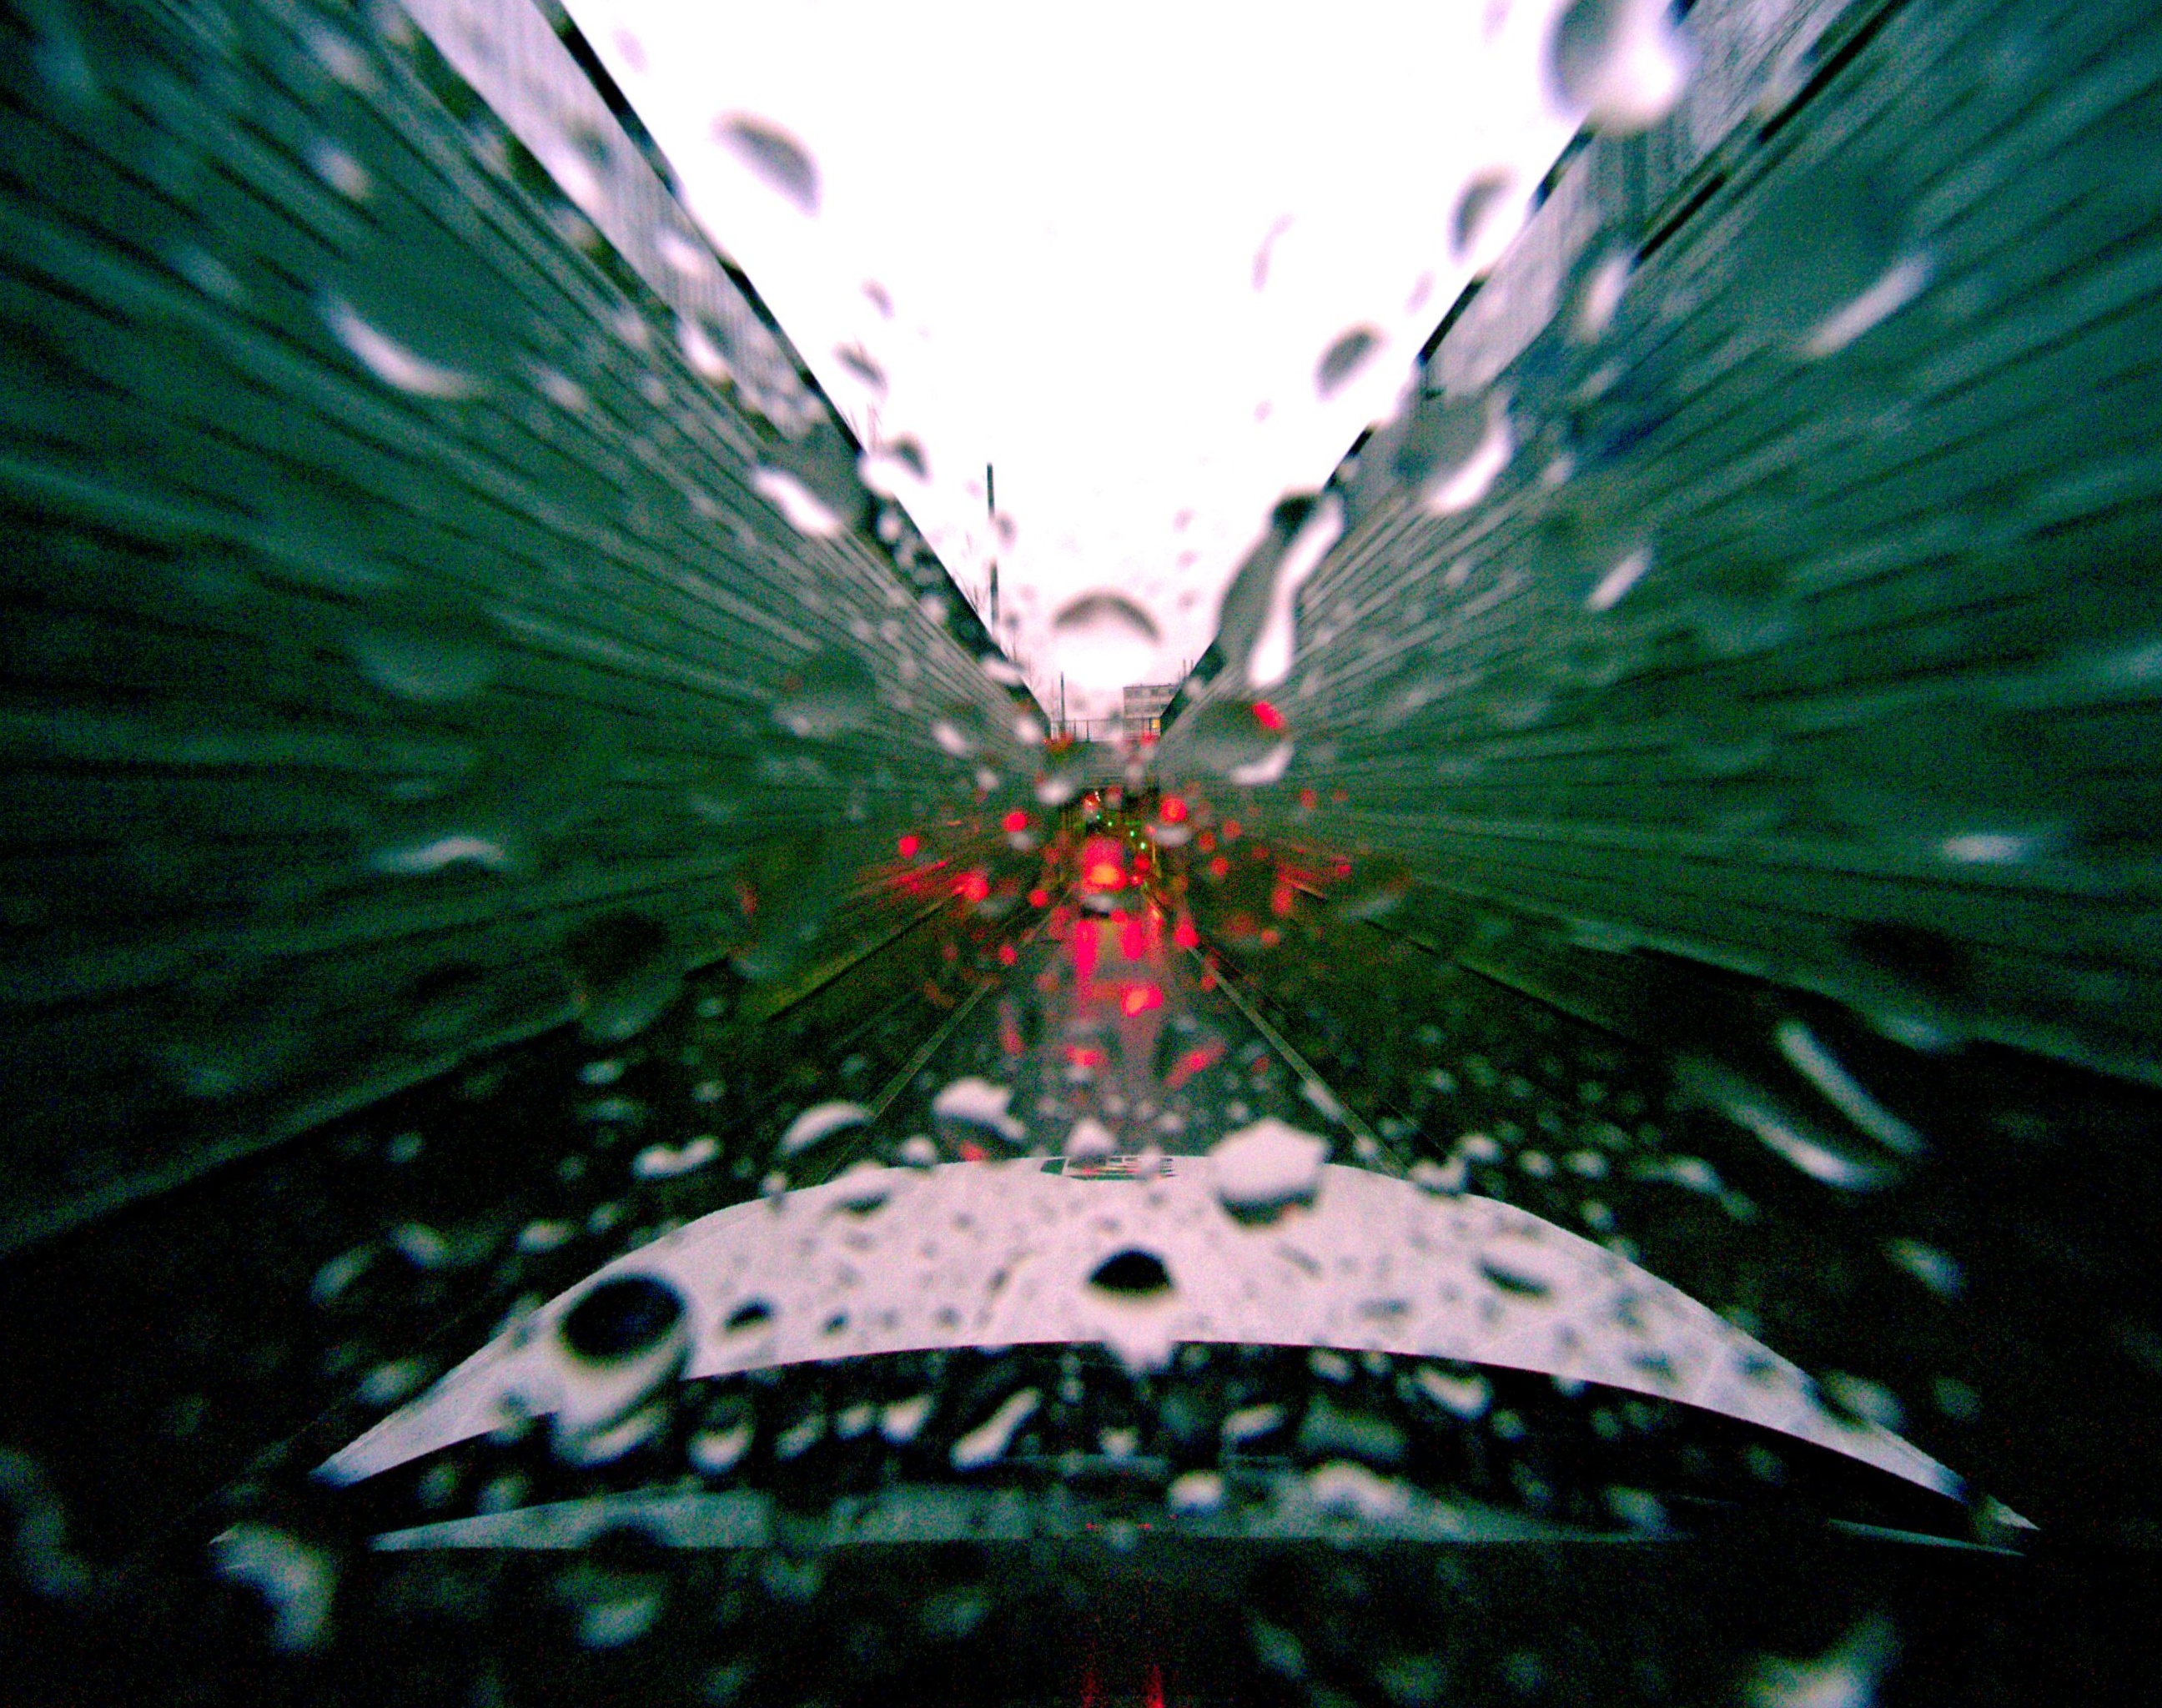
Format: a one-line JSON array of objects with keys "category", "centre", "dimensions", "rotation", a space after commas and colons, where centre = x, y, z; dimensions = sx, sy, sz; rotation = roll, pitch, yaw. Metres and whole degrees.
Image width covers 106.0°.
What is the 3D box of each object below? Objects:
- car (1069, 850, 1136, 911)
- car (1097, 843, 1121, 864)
[{"category": "car", "centre": [0.659, 0.675, 22.976], "dimensions": [1.715, 1.479, 4.004], "rotation": [1, 1, 3]}, {"category": "car", "centre": [2.363, -0.086, 68.925], "dimensions": [1.913, 1.485, 4.001], "rotation": [1, 3, 0]}]
